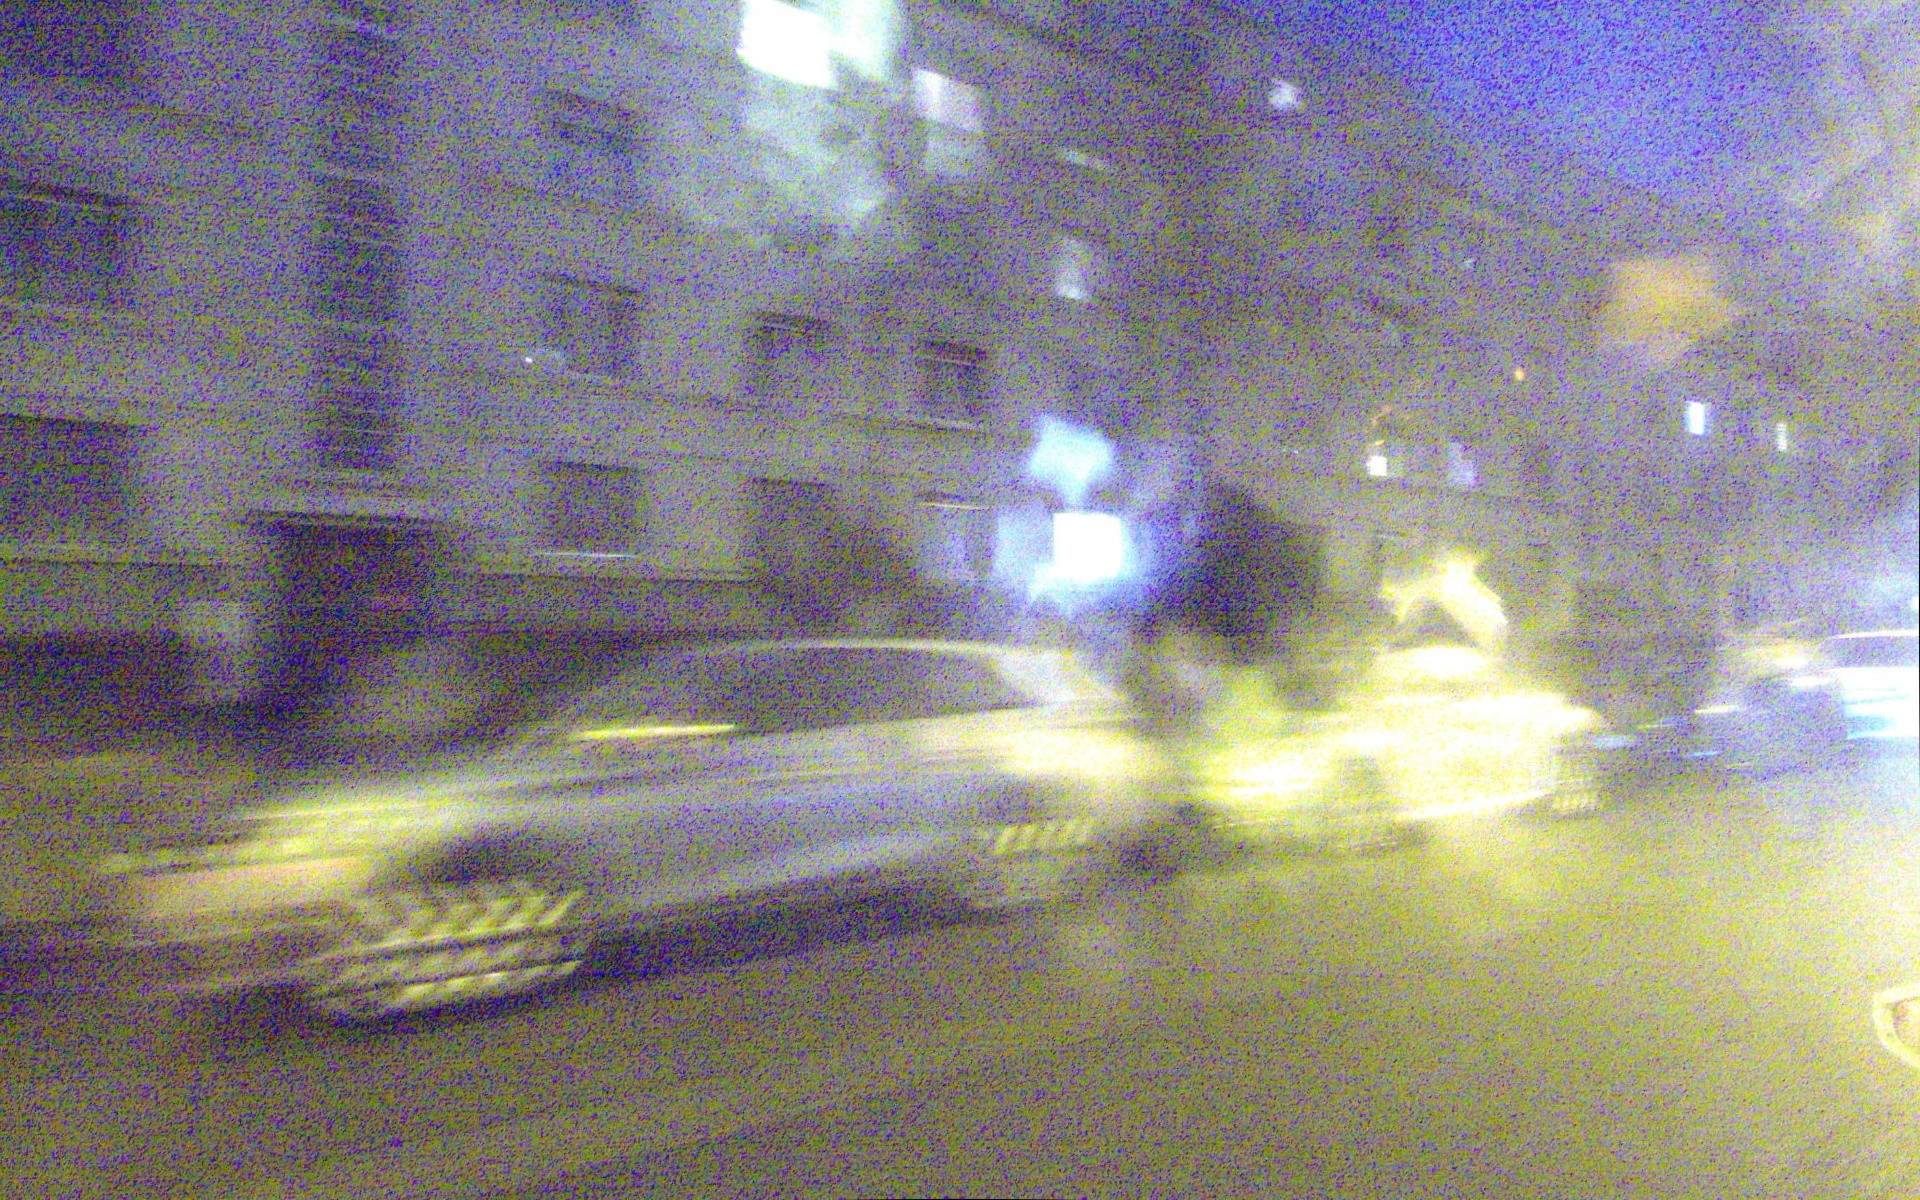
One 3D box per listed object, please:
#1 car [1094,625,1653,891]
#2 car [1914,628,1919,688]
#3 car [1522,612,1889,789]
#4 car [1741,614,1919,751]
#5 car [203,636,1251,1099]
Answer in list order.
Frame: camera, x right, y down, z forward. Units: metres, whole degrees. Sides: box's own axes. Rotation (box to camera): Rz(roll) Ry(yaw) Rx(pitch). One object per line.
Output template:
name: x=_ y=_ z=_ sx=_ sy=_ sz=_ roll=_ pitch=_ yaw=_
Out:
car: x=3.297 y=1.016 z=7.807 sx=4.337 sy=1.560 sz=1.659 roll=0 pitch=-3 yaw=-29
car: x=17.171 y=1.165 z=16.066 sx=4.342 sy=1.559 sz=1.658 roll=1 pitch=-5 yaw=-32
car: x=8.043 y=0.953 z=10.737 sx=4.342 sy=1.560 sz=1.657 roll=1 pitch=-3 yaw=-32
car: x=12.443 y=1.031 z=13.306 sx=4.337 sy=1.559 sz=1.660 roll=0 pitch=-5 yaw=-29
car: x=-0.818 y=0.949 z=5.104 sx=4.618 sy=1.437 sz=1.613 roll=0 pitch=-3 yaw=-29
